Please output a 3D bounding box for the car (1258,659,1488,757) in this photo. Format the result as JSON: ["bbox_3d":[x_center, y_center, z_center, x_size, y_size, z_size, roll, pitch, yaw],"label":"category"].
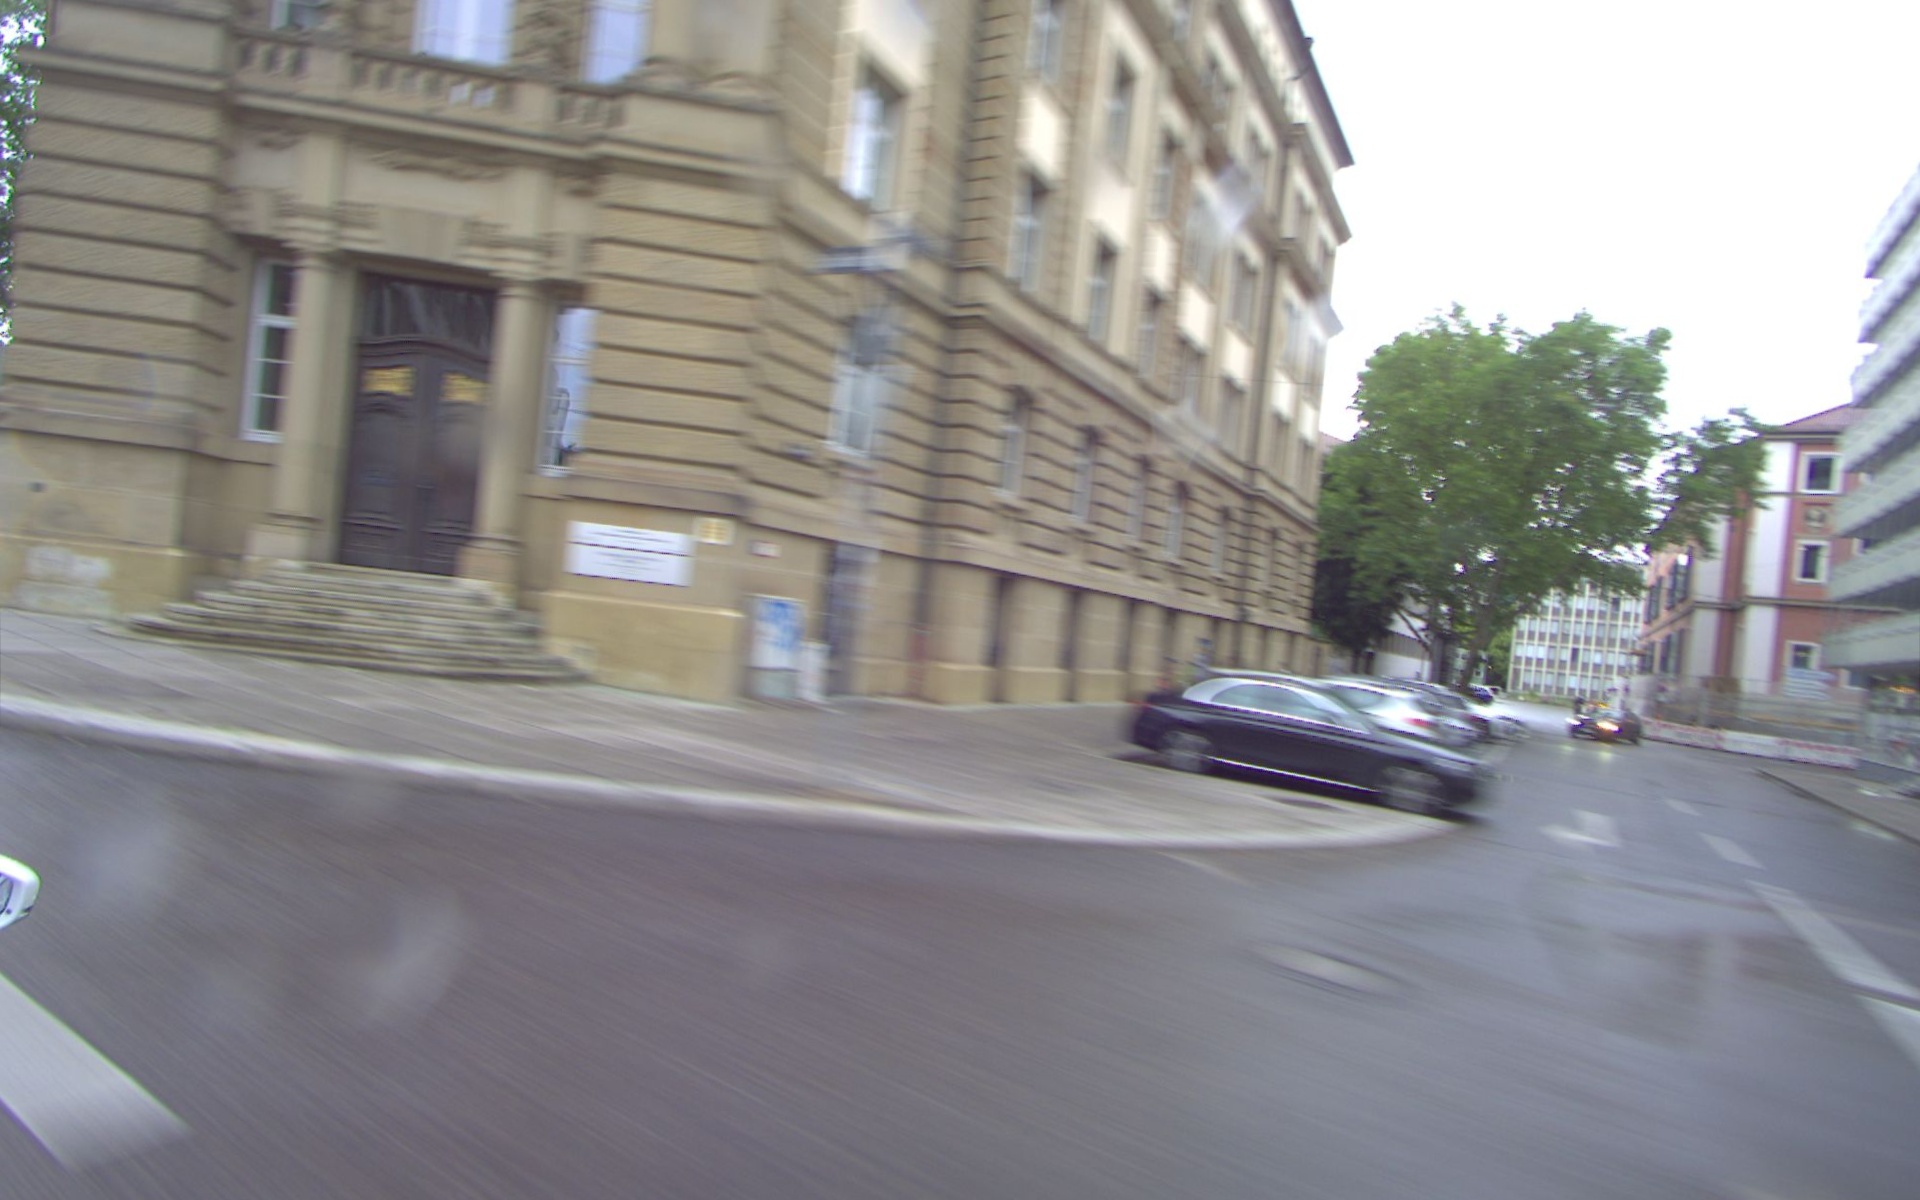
[{"bbox_3d":[10.053,2.593,24.591,4.824,1.614,1.978,6,-2,32],"label":"car"}]

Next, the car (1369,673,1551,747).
[{"bbox_3d":[15.896,3.472,32.089,4.829,1.614,1.976,6,-2,36],"label":"car"}]

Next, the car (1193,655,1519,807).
[{"bbox_3d":[6.310,2.008,16.184,4.476,1.614,1.978,6,-2,33],"label":"car"}]

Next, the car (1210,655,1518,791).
[{"bbox_3d":[7.285,2.145,18.313,4.824,1.614,1.978,6,-2,32],"label":"car"}]

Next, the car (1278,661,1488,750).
[{"bbox_3d":[11.272,2.775,26.921,4.824,1.614,1.978,6,-2,32],"label":"car"}]

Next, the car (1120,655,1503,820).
[{"bbox_3d":[4.828,1.808,14.046,4.623,1.414,1.978,6,-2,33],"label":"car"}]

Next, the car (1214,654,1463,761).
[{"bbox_3d":[8.423,2.343,22.533,4.824,1.614,1.978,6,-2,32],"label":"car"}]

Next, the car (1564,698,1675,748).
[{"bbox_3d":[29.043,5.415,44.285,4.852,1.614,1.967,9,-2,-29],"label":"car"}]

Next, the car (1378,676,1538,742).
[{"bbox_3d":[17.784,3.876,35.980,4.825,1.614,1.977,6,-2,33],"label":"car"}]
